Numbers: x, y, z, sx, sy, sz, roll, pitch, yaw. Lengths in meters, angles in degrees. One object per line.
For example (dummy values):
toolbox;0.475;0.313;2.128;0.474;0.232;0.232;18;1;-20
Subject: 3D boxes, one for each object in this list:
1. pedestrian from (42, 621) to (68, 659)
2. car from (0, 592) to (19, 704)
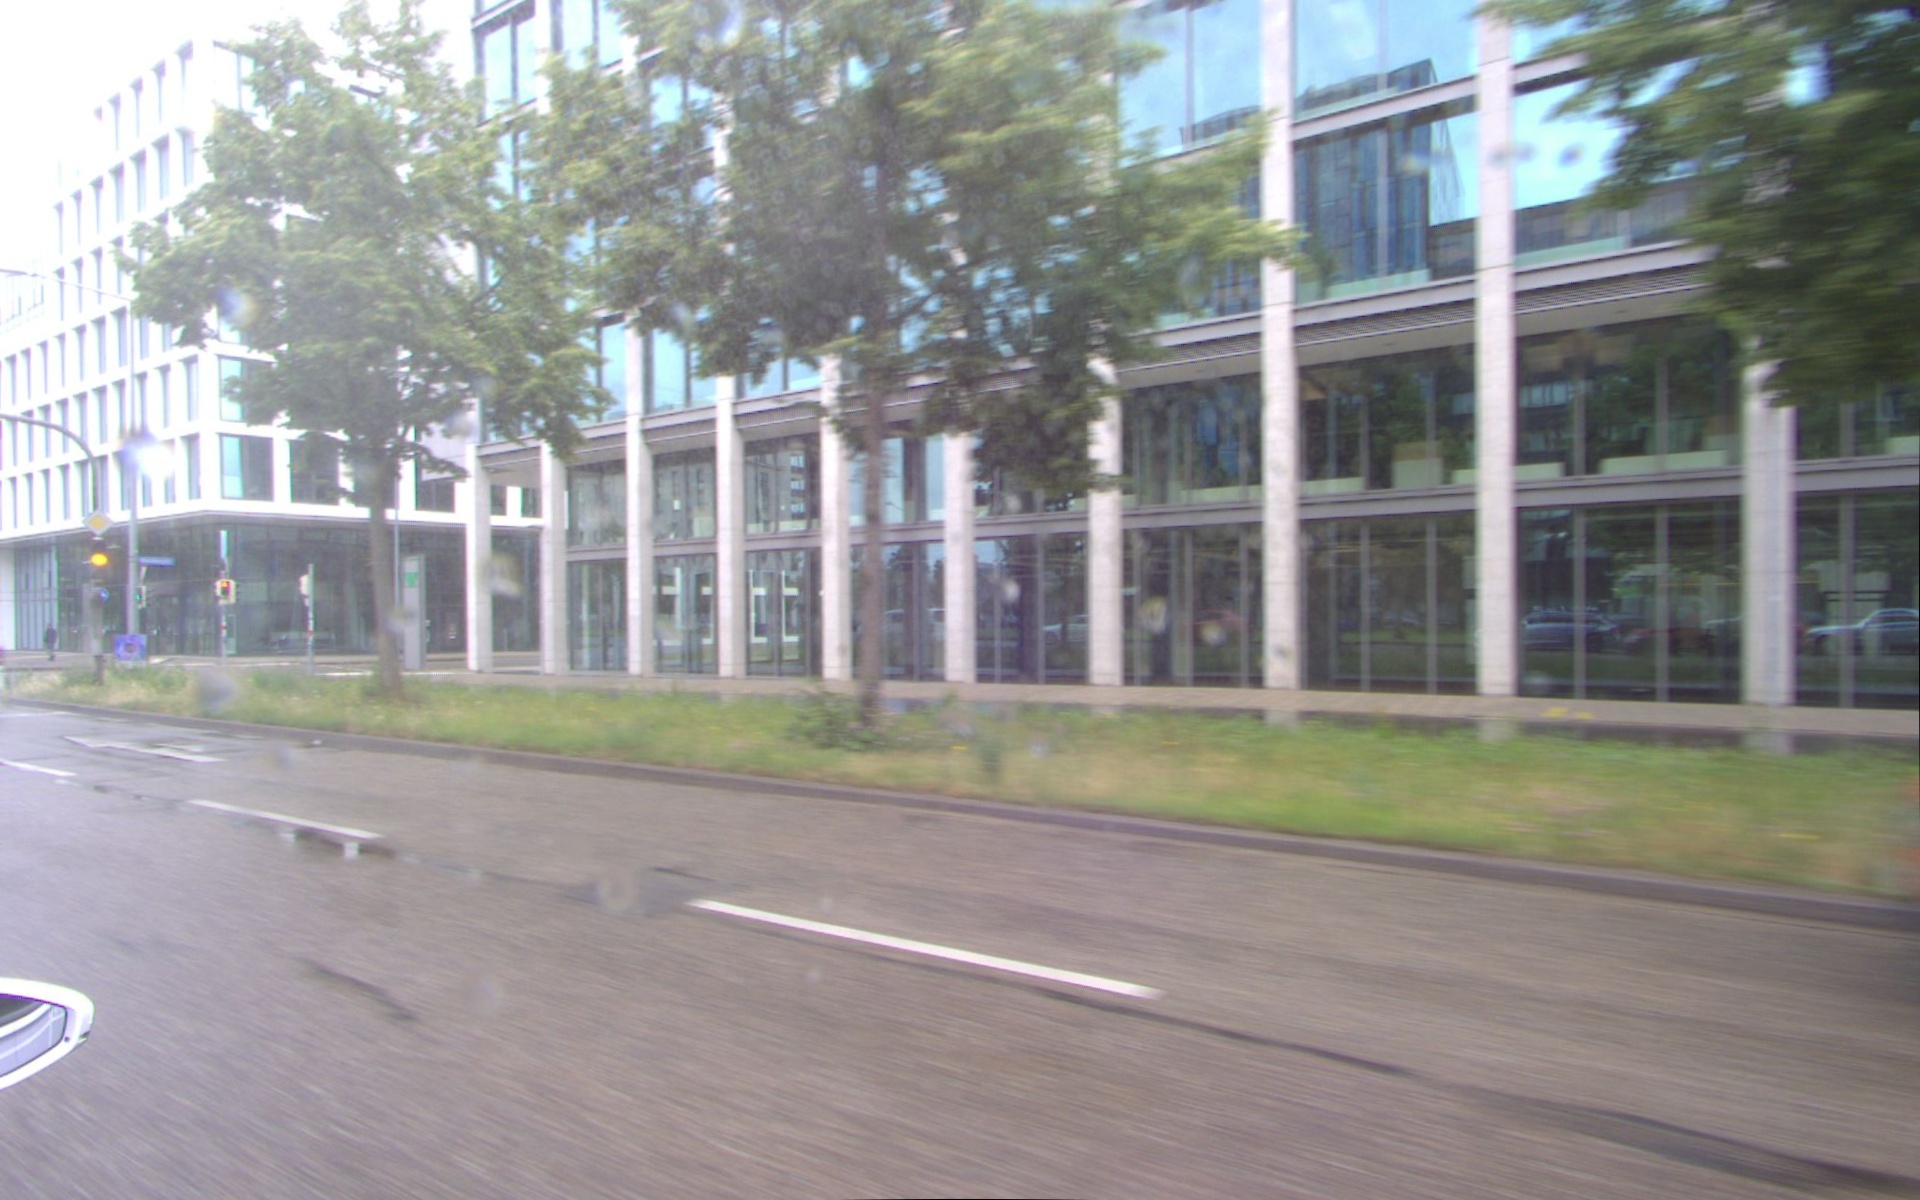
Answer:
pedestrian;-42.391;1.869;46.908;0.772;1.729;0.676;0;-1;31
car;-19.698;0.897;18.576;5.016;2.005;1.965;-1;-2;31
